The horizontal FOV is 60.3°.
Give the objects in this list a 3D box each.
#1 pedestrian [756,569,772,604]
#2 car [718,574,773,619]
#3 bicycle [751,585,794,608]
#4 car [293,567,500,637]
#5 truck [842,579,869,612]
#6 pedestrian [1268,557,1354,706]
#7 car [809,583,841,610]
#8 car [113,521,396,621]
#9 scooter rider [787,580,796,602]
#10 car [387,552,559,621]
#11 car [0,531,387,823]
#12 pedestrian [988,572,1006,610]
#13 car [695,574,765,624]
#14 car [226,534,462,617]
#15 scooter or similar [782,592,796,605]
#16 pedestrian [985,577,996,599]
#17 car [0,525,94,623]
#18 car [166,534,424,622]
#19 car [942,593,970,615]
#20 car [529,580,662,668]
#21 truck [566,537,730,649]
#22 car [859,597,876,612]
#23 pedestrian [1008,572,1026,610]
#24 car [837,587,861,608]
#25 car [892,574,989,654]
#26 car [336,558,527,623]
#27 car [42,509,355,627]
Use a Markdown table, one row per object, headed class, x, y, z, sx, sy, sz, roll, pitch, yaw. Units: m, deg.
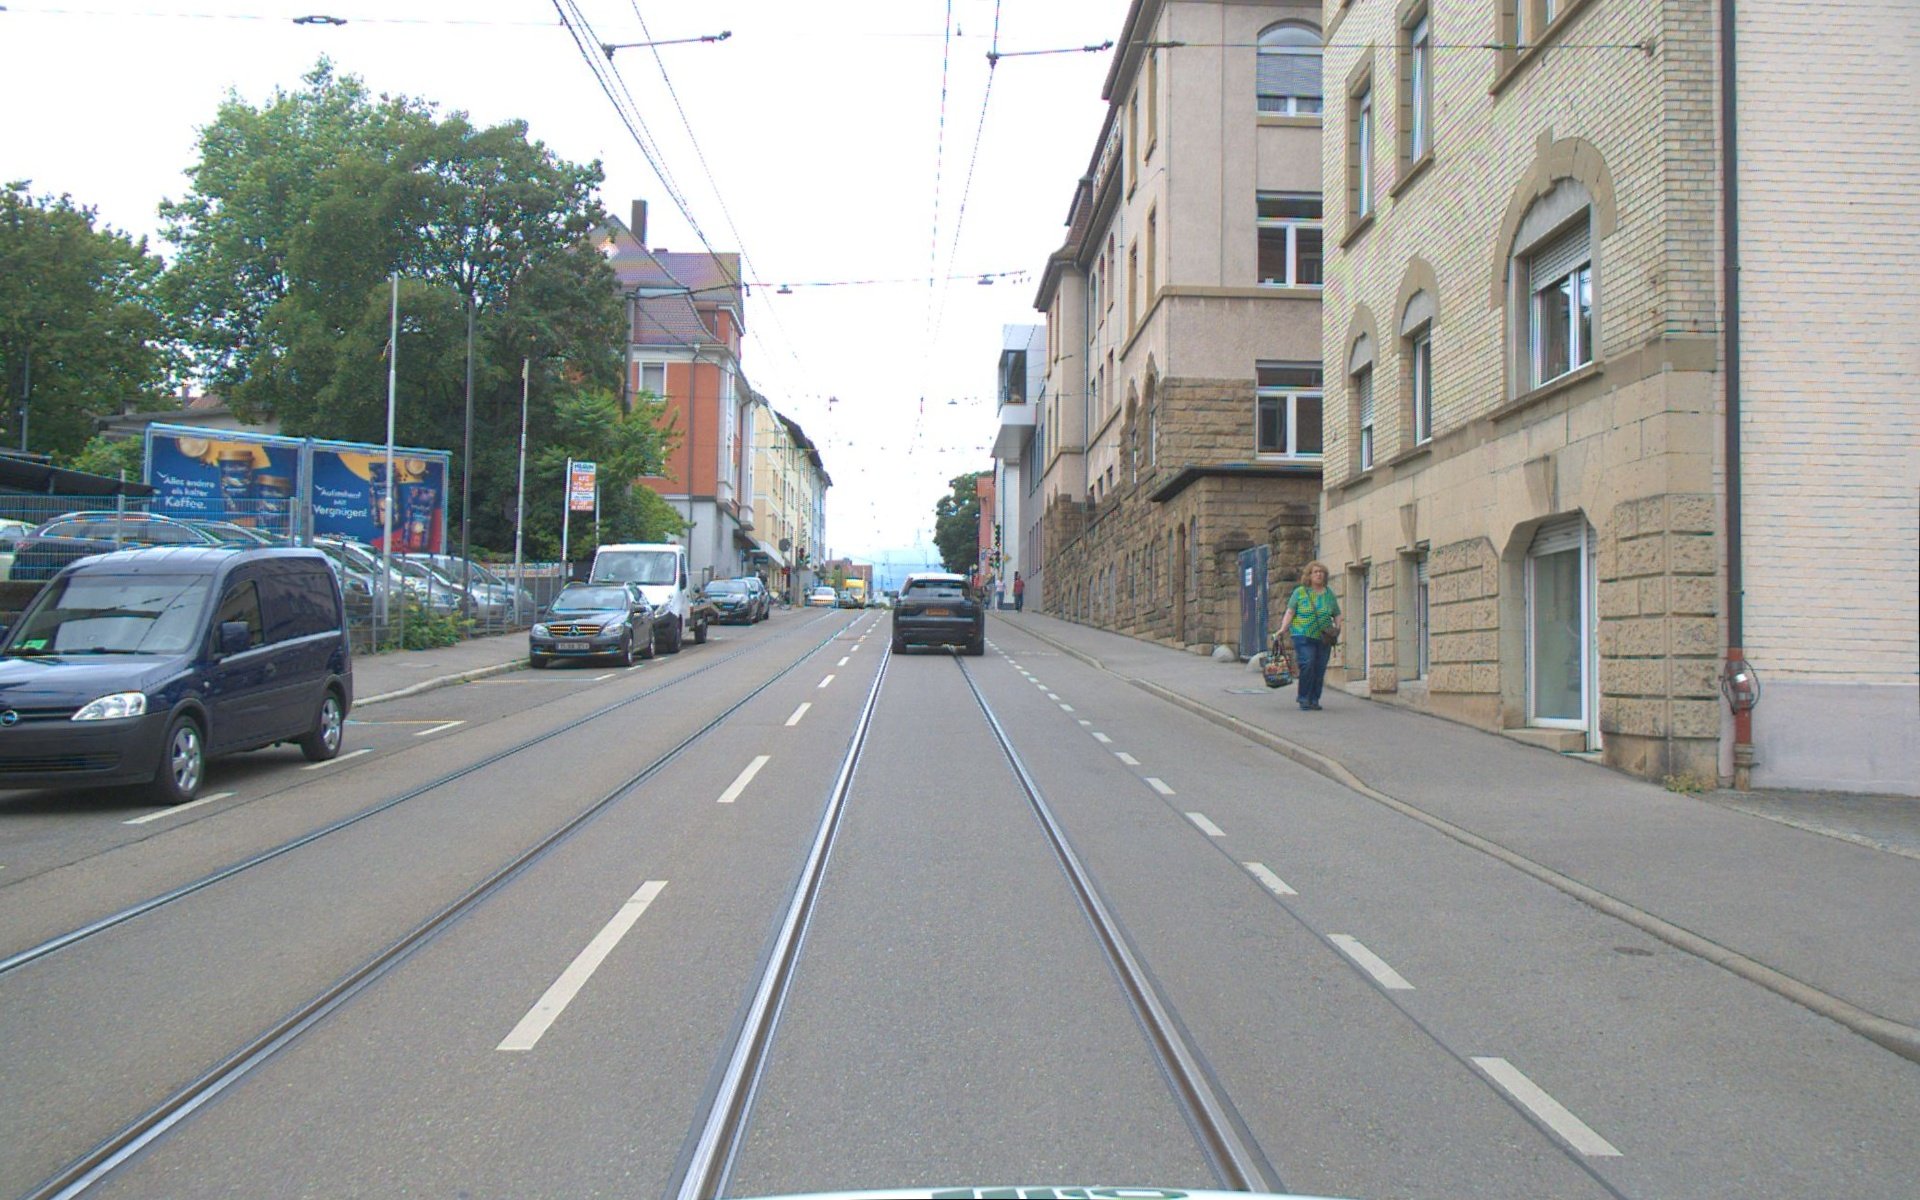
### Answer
| class | x | y | z | sx | sy | sz | roll | pitch | yaw |
| --- | --- | --- | --- | --- | --- | --- | --- | --- | --- |
| pedestrian | -10.320 | -0.708 | 87.132 | 0.759 | 1.807 | 0.650 | 1 | 0 | -1 |
| car | -7.468 | -0.145 | 57.811 | 1.484 | 1.472 | 3.709 | 1 | 1 | -1 |
| bicycle | -8.589 | -0.155 | 75.819 | 1.872 | 1.017 | 0.479 | 1 | 0 | -1 |
| car | -11.887 | 0.031 | 35.066 | 3.798 | 1.381 | 1.687 | 1 | 1 | -2 |
| truck | -9.925 | -0.432 | 158.237 | 2.256 | 3.089 | 9.030 | 1 | 0 | -2 |
| pedestrian | 4.150 | 0.366 | 19.601 | 0.852 | 1.715 | 0.663 | -1 | 0 | -1 |
| car | -8.604 | -0.230 | 105.501 | 1.817 | 1.635 | 4.296 | 1 | 1 | -2 |
| car | -11.788 | -0.481 | 27.836 | 3.978 | 1.550 | 1.738 | 1 | 1 | -2 |
| scooter rider | -12.301 | -0.642 | 120.517 | 0.635 | 1.613 | 0.765 | 1 | 1 | -6 |
| car | -11.774 | -0.321 | 40.150 | 3.896 | 1.578 | 1.681 | 1 | 1 | -17 |
| car | -5.935 | 0.451 | 12.351 | 1.708 | 1.766 | 4.519 | -1 | 1 | 0 |
| pedestrian | 1.699 | -0.404 | 75.385 | 0.775 | 1.696 | 0.799 | 1 | 0 | 0 |
| car | -7.209 | -0.050 | 52.207 | 1.677 | 1.472 | 4.289 | 1 | 1 | -1 |
| car | -12.042 | -0.481 | 32.492 | 3.978 | 1.520 | 1.687 | 1 | 1 | -2 |
| scooter or similar | -12.473 | -0.097 | 120.506 | 1.007 | 0.935 | 0.472 | 1 | 0 | -6 |
| pedestrian | 2.339 | -0.903 | 126.041 | 0.775 | 1.696 | 0.799 | 1 | 0 | 0 |
| car | -15.714 | -0.427 | 26.494 | 1.648 | 1.520 | 3.888 | 1 | 1 | -1 |
| car | -12.007 | -0.395 | 30.049 | 3.978 | 1.470 | 1.687 | 1 | 1 | -2 |
| car | -0.305 | 0.285 | 123.897 | 1.953 | 1.590 | 4.289 | 1 | 1 | -1 |
| car | -6.634 | 0.381 | 30.521 | 1.663 | 1.458 | 4.479 | -1 | 1 | -3 |
| truck | -6.858 | -0.184 | 37.420 | 2.234 | 2.226 | 8.024 | 1 | 1 | -1 |
| car | -10.828 | 0.543 | 193.051 | 1.817 | 1.635 | 4.296 | 1 | 1 | -2 |
| pedestrian | 2.613 | -0.417 | 75.327 | 0.775 | 1.696 | 0.799 | 1 | 0 | 0 |
| car | -9.275 | -0.212 | 138.075 | 1.817 | 1.635 | 4.296 | 1 | 1 | -2 |
| car | -0.438 | 0.250 | 35.693 | 1.953 | 1.590 | 4.289 | 1 | 1 | -1 |
| car | -11.972 | -0.214 | 37.627 | 3.798 | 1.381 | 1.687 | 1 | 1 | -2 |
| car | -11.681 | -0.482 | 25.555 | 3.979 | 1.579 | 1.687 | 3 | 0 | -3 |
